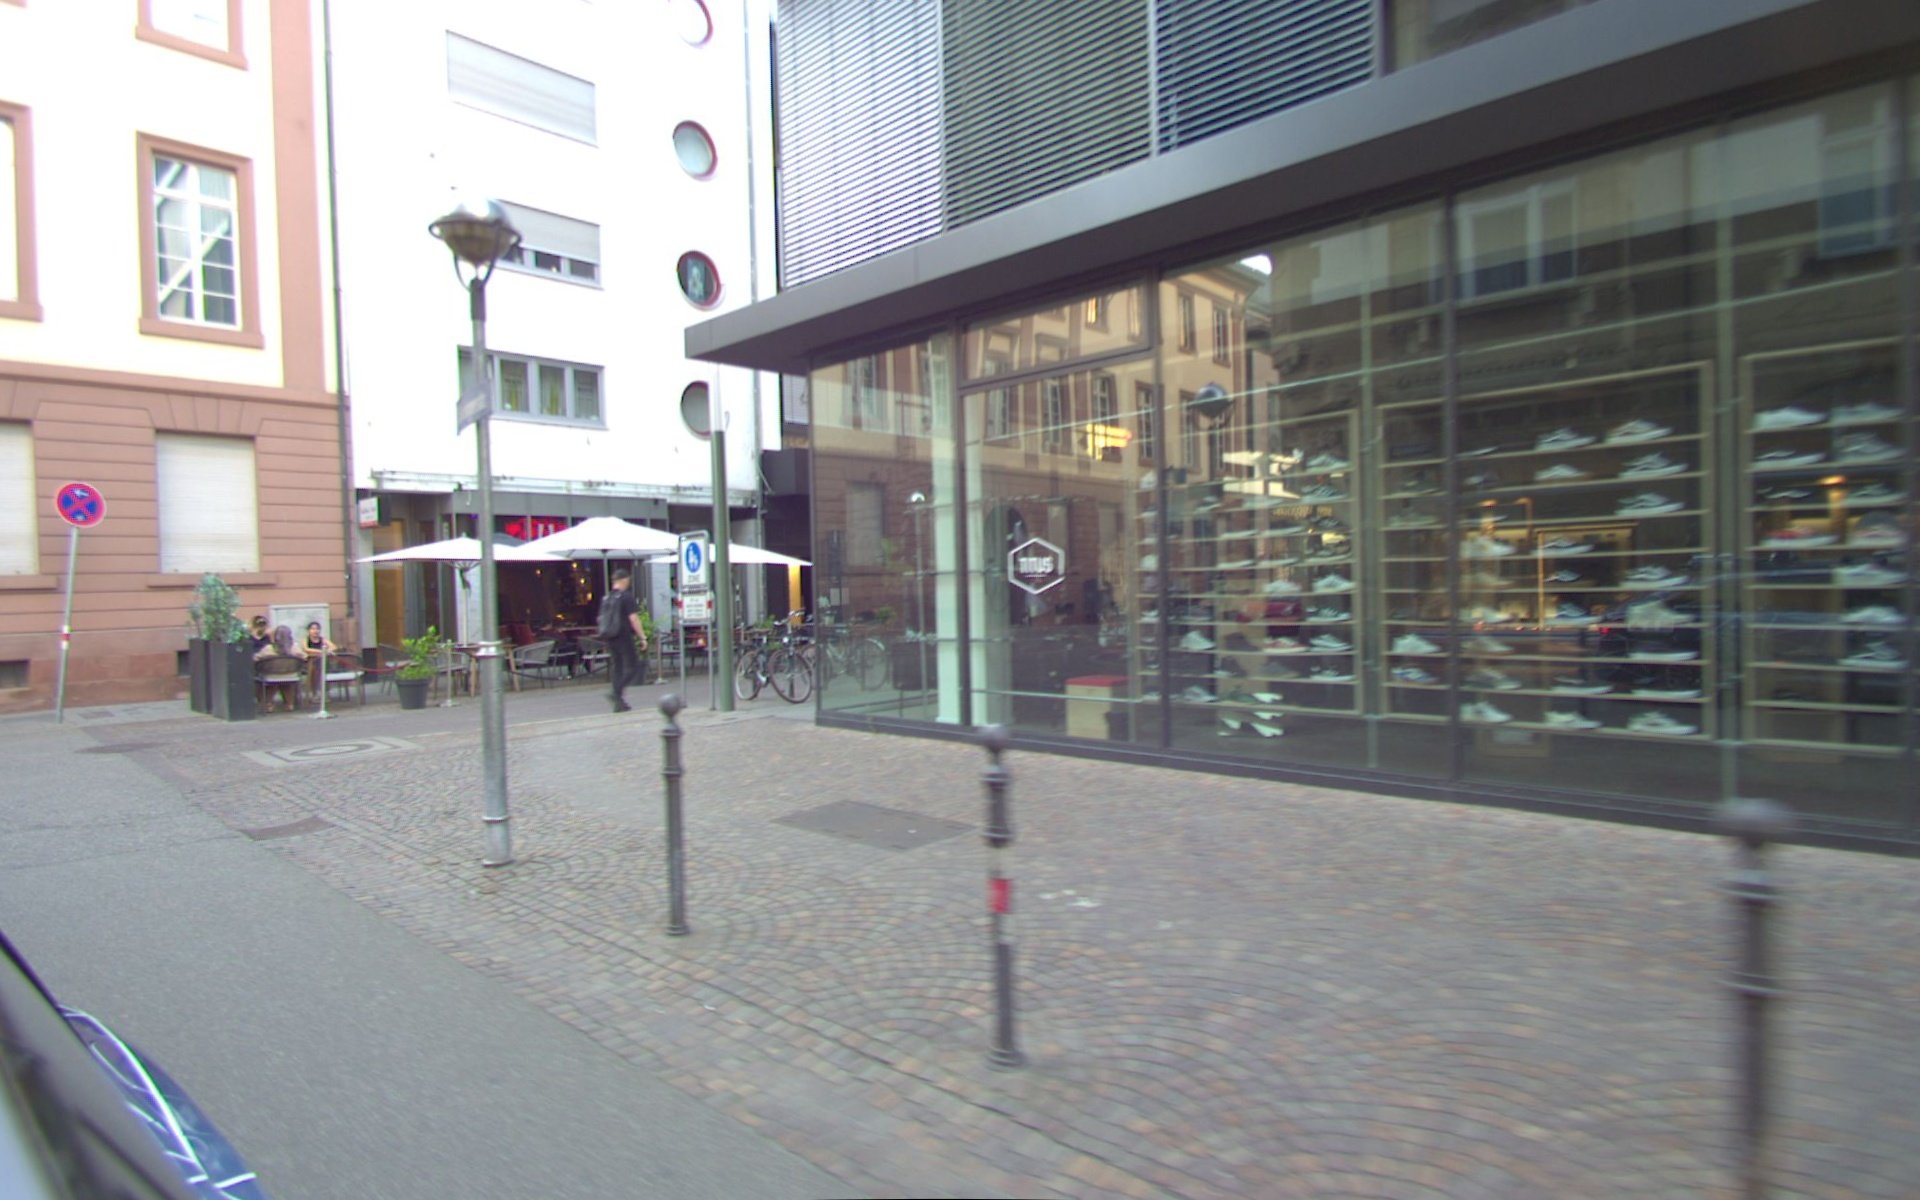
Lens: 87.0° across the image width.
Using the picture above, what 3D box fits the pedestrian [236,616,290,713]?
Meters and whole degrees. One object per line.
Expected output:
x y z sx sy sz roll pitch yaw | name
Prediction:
-10.156 0.920 14.746 0.489 1.359 0.541 -1 0 45 | pedestrian

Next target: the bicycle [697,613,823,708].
-2.597 0.765 13.044 1.673 1.121 0.700 -3 -1 42 | bicycle

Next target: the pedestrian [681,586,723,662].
-5.781 0.526 22.704 0.619 1.678 0.667 -2 0 15 | pedestrian

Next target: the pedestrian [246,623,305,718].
-9.209 0.933 13.610 0.461 1.221 0.554 -1 0 45 | pedestrian

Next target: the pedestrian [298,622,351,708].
-9.477 0.956 15.083 0.541 1.220 0.524 -2 0 -45 | pedestrian

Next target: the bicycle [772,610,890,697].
-1.881 0.763 14.569 1.841 1.159 0.601 -3 -1 42 | bicycle

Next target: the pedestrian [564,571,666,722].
-4.277 0.557 12.598 0.734 1.798 0.963 -2 0 18 | pedestrian
